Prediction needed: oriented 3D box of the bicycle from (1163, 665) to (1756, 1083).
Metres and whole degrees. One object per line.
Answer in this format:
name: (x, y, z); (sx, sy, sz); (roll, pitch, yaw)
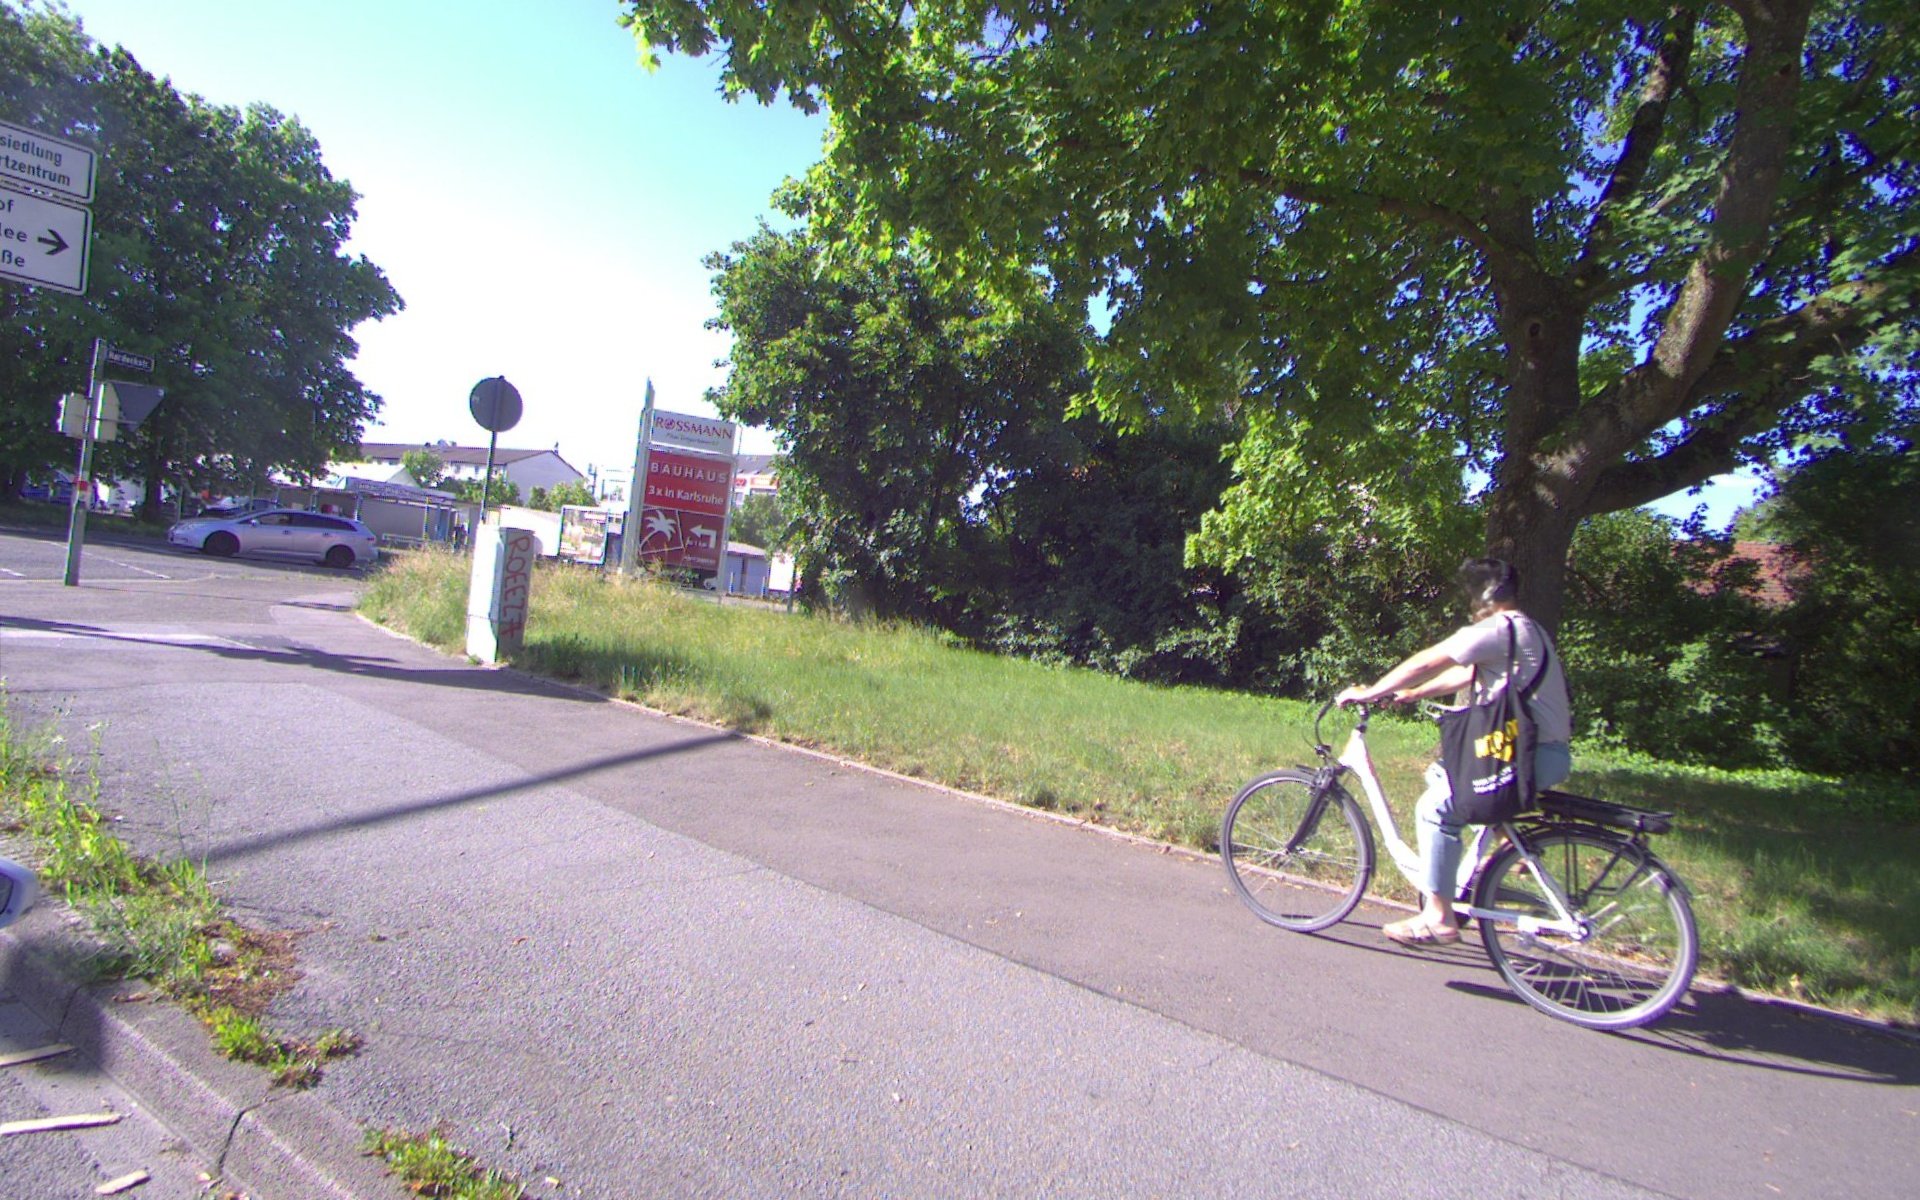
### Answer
bicycle: (1.852, 0.911, 4.002); (1.961, 1.112, 0.577); (5, 1, 42)

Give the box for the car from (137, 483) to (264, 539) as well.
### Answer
car: (-32.343, -3.749, 42.981); (1.962, 1.772, 4.000); (7, 1, 9)

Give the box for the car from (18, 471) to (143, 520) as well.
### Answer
car: (-39.180, -4.629, 44.932); (1.712, 1.537, 3.902); (7, 0, 9)

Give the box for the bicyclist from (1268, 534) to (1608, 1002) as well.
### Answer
bicyclist: (1.877, 0.575, 3.999); (0.984, 1.602, 0.577); (5, 1, 42)

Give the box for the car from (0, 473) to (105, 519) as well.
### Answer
car: (-41.990, -4.770, 46.157); (1.712, 1.537, 3.902); (7, 0, 9)

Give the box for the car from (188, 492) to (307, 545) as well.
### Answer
car: (-30.296, -3.430, 42.917); (1.712, 1.701, 4.001); (7, 0, 9)

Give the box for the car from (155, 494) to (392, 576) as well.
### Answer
car: (-18.649, -1.734, 27.526); (1.973, 1.504, 4.994); (7, 0, 43)
